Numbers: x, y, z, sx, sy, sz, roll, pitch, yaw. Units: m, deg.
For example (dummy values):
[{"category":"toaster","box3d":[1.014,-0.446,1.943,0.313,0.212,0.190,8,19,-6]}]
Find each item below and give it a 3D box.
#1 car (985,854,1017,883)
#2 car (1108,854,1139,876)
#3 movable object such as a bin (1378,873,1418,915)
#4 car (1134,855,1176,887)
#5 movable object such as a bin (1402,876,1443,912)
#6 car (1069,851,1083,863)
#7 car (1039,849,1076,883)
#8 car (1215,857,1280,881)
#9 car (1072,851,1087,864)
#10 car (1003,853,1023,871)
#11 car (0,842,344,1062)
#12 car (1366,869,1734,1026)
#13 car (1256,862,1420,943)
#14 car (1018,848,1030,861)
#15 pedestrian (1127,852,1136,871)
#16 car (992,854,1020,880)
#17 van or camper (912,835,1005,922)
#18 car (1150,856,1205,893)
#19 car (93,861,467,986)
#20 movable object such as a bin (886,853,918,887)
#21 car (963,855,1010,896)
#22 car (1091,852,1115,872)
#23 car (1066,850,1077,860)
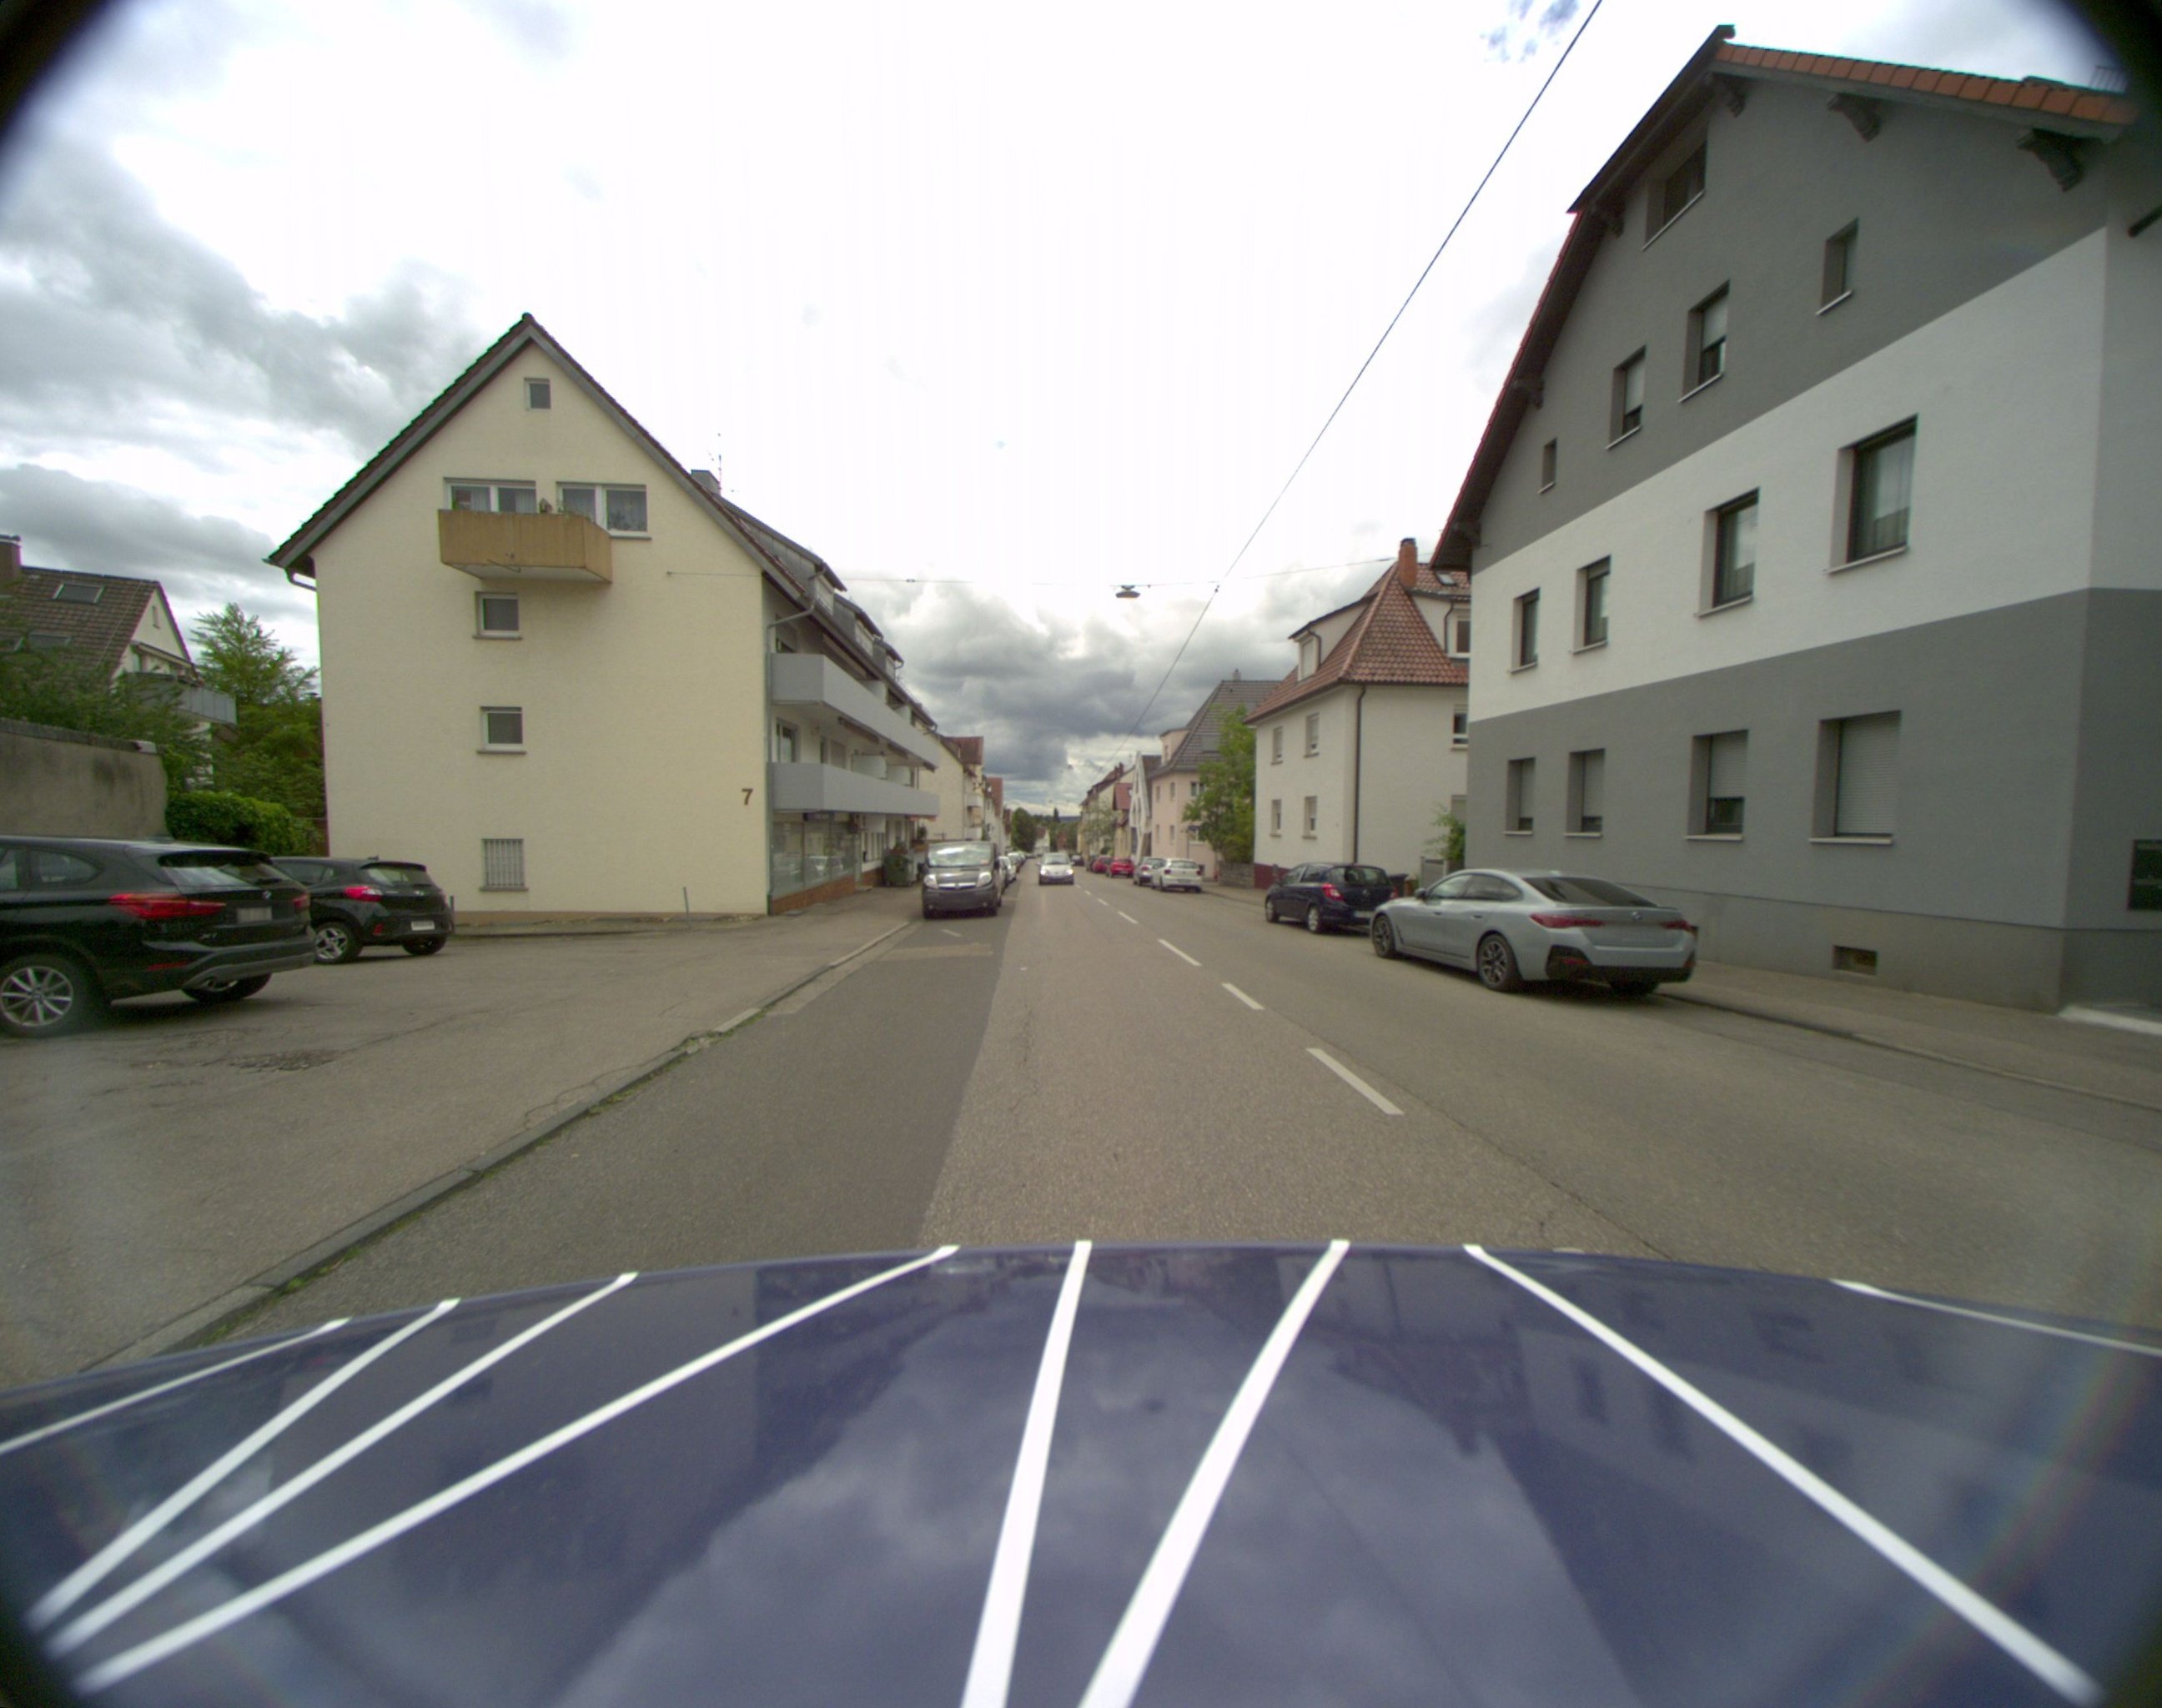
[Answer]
[{"category":"car","box3d":[-4.334,0.767,41.605,1.614,1.447,3.312,-2,1,-4]},{"category":"car","box3d":[2.963,0.754,53.834,1.707,1.402,3.734,3,1,-4]},{"category":"movable object such as a bin","box3d":[8.231,1.029,19.763,0.679,1.039,0.758,-2,1,-4]},{"category":"car","box3d":[3.644,0.814,38.127,1.654,1.438,3.773,1,1,-1]},{"category":"movable object such as a bin","box3d":[8.986,1.048,20.019,0.679,0.886,0.759,-2,-2,-4]},{"category":"car","box3d":[-0.659,0.389,107.953,1.707,1.524,3.734,3,1,-4]},{"category":"car","box3d":[-1.152,0.581,38.781,1.721,1.587,3.999,-2,1,0]},{"category":"car","box3d":[10.371,0.955,47.516,3.732,1.402,1.707,-1,1,1]},{"category":"car","box3d":[-0.217,0.447,102.273,1.707,1.524,3.734,3,1,-4]},{"category":"car","box3d":[-5.828,0.662,65.133,1.614,1.447,3.857,-2,1,-4]},{"category":"car","box3d":[-9.376,0.723,6.427,4.126,1.644,1.902,1,0,-12]},{"category":"car","box3d":[5.642,1.002,9.988,1.842,1.437,4.466,2,0,-3]},{"category":"car","box3d":[5.397,0.953,16.567,1.843,1.437,3.997,2,0,-6]},{"category":"car","box3d":[-8.343,0.100,111.082,1.614,1.789,3.857,-2,1,-4]},{"category":"pedestrian","box3d":[4.239,0.627,63.851,0.583,1.524,0.600,-2,1,-3]},{"category":"car","box3d":[-4.486,0.764,45.798,1.585,1.397,3.596,-2,1,-4]},{"category":"van or camper","box3d":[-3.204,0.570,20.819,1.999,2.002,5.061,-3,1,-4]},{"category":"car","box3d":[4.147,0.842,33.178,1.654,1.438,3.809,1,1,-3]},{"category":"car","box3d":[-11.197,0.918,10.853,3.323,1.478,1.725,-2,1,-4]},{"category":"movable object such as a bin","box3d":[-7.706,0.677,32.794,1.083,1.428,1.259,-2,1,-3]},{"category":"car","box3d":[-3.775,0.832,30.920,1.614,1.447,4.332,-2,1,-4]},{"category":"car","box3d":[1.859,0.690,65.168,1.707,1.524,3.734,3,1,-4]},{"category":"car","box3d":[-1.602,0.181,127.763,1.707,1.524,3.734,3,1,-4]}]
